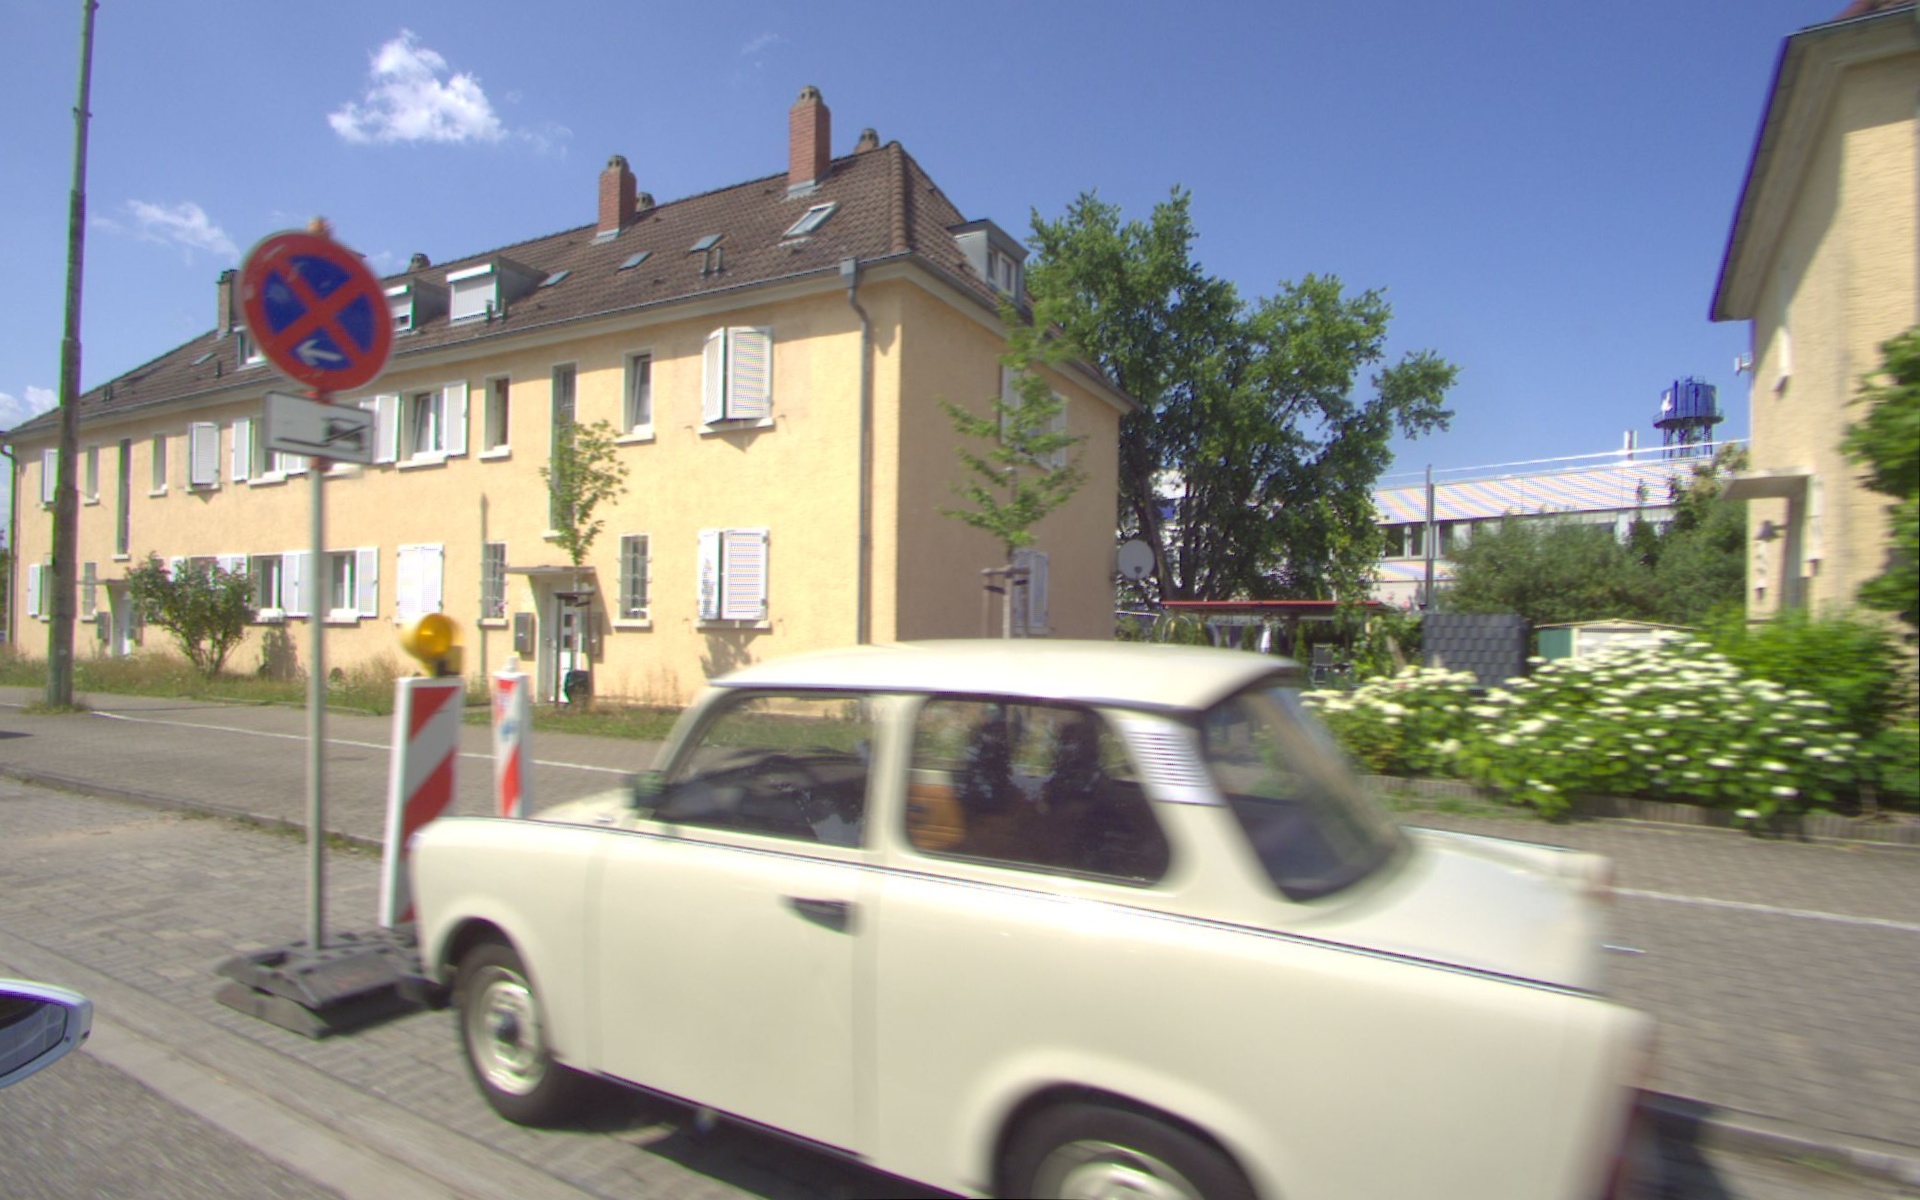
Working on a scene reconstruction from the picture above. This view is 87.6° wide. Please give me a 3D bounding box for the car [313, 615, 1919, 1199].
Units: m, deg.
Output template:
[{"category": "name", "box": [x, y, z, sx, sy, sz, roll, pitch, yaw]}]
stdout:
[{"category": "car", "box": [-0.070, 0.819, 2.957, 4.048, 1.521, 1.461, 0, -1, 31]}]
